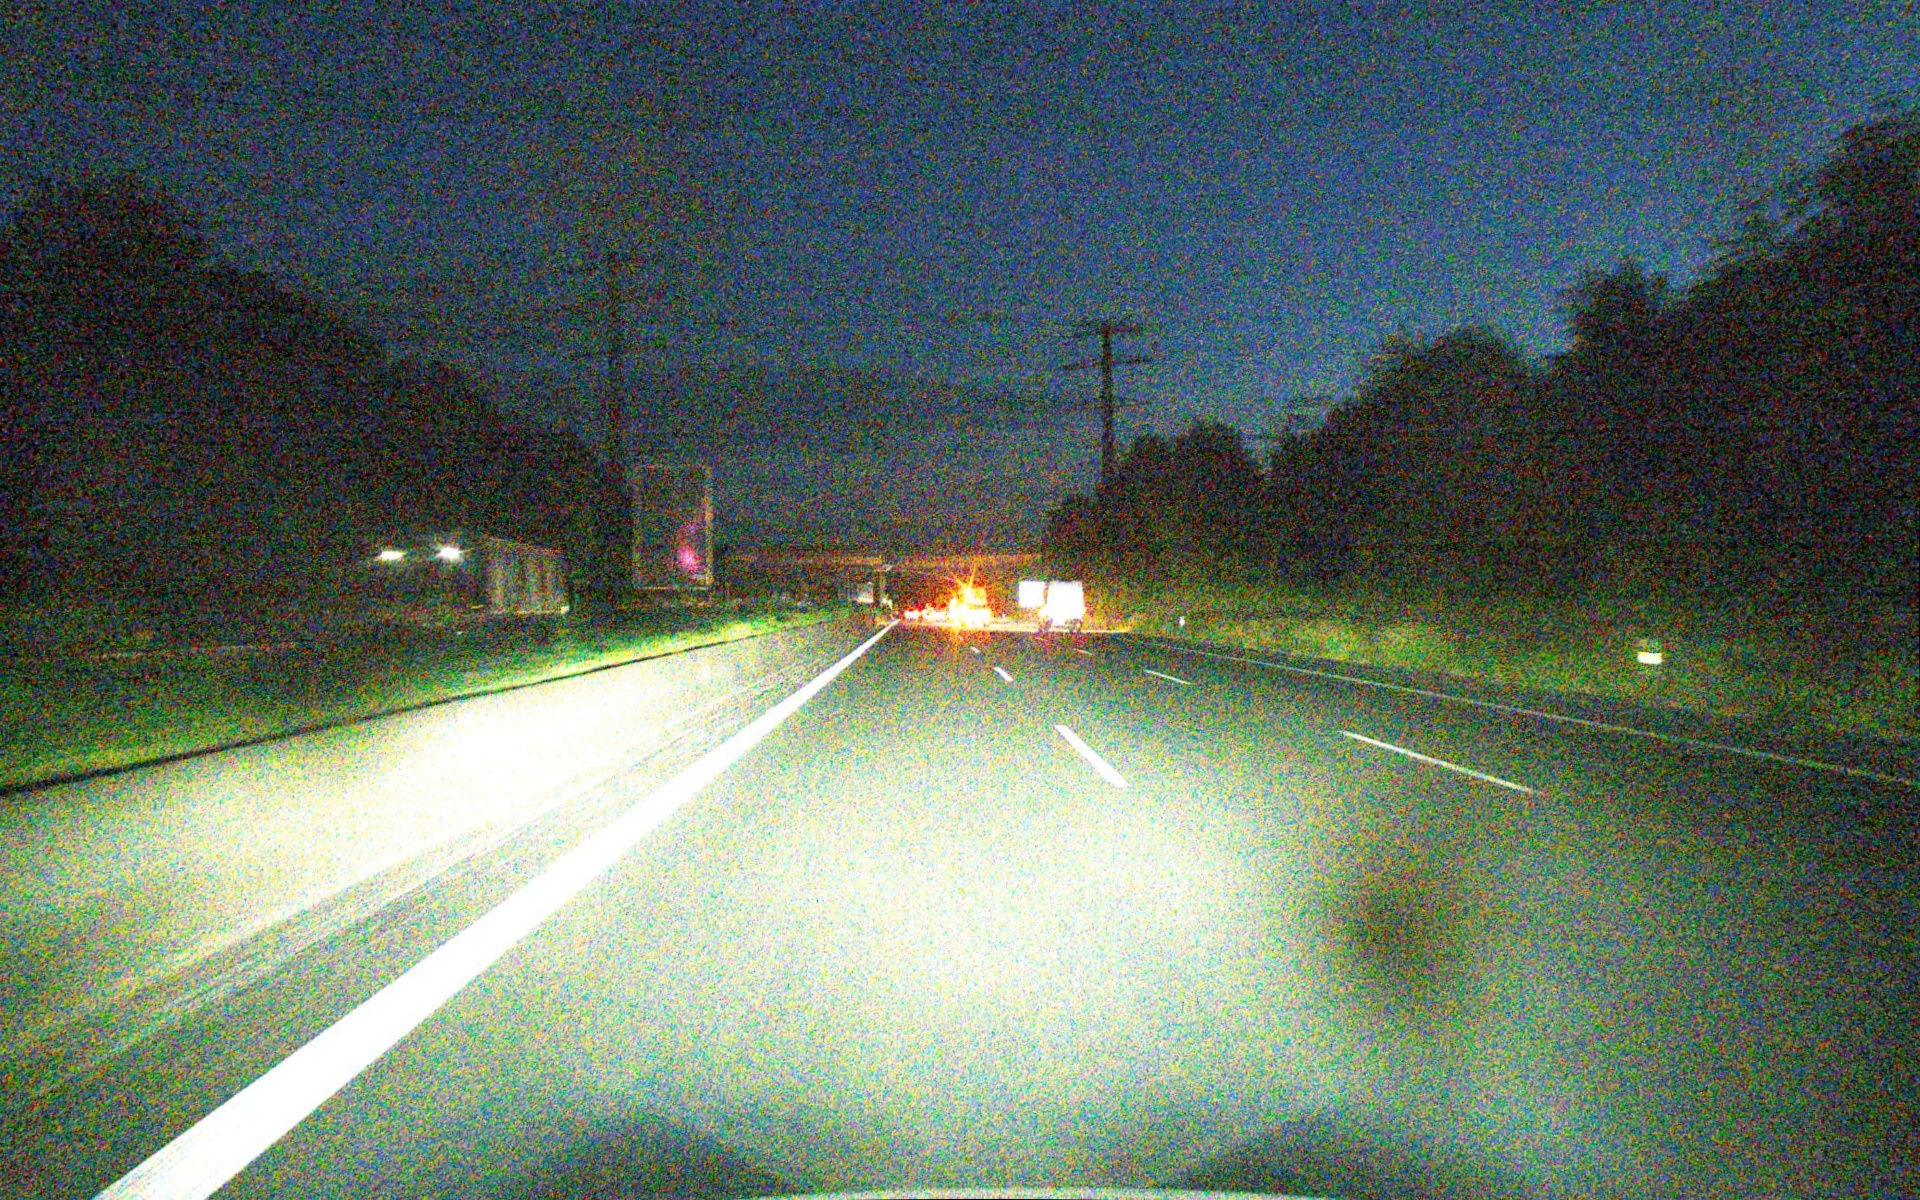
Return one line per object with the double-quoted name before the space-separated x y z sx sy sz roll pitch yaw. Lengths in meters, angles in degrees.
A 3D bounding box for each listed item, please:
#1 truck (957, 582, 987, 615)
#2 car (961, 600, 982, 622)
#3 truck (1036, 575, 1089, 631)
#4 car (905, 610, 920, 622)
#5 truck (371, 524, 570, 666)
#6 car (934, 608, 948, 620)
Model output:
"truck" 1.294 -0.228 179.342 2.982 3.382 10.140 1 1 -1
"car" 0.744 0.725 112.025 1.319 1.411 3.501 1 1 -1
"truck" 5.471 0.220 88.834 2.035 2.738 7.303 1 -2 -3
"car" -6.112 2.041 213.134 1.784 1.492 4.247 1 1 -1
"truck" -17.142 -0.235 59.676 3.052 4.276 16.967 -2 1 -4
"car" -2.552 1.845 217.798 1.784 1.492 4.247 1 1 -1
